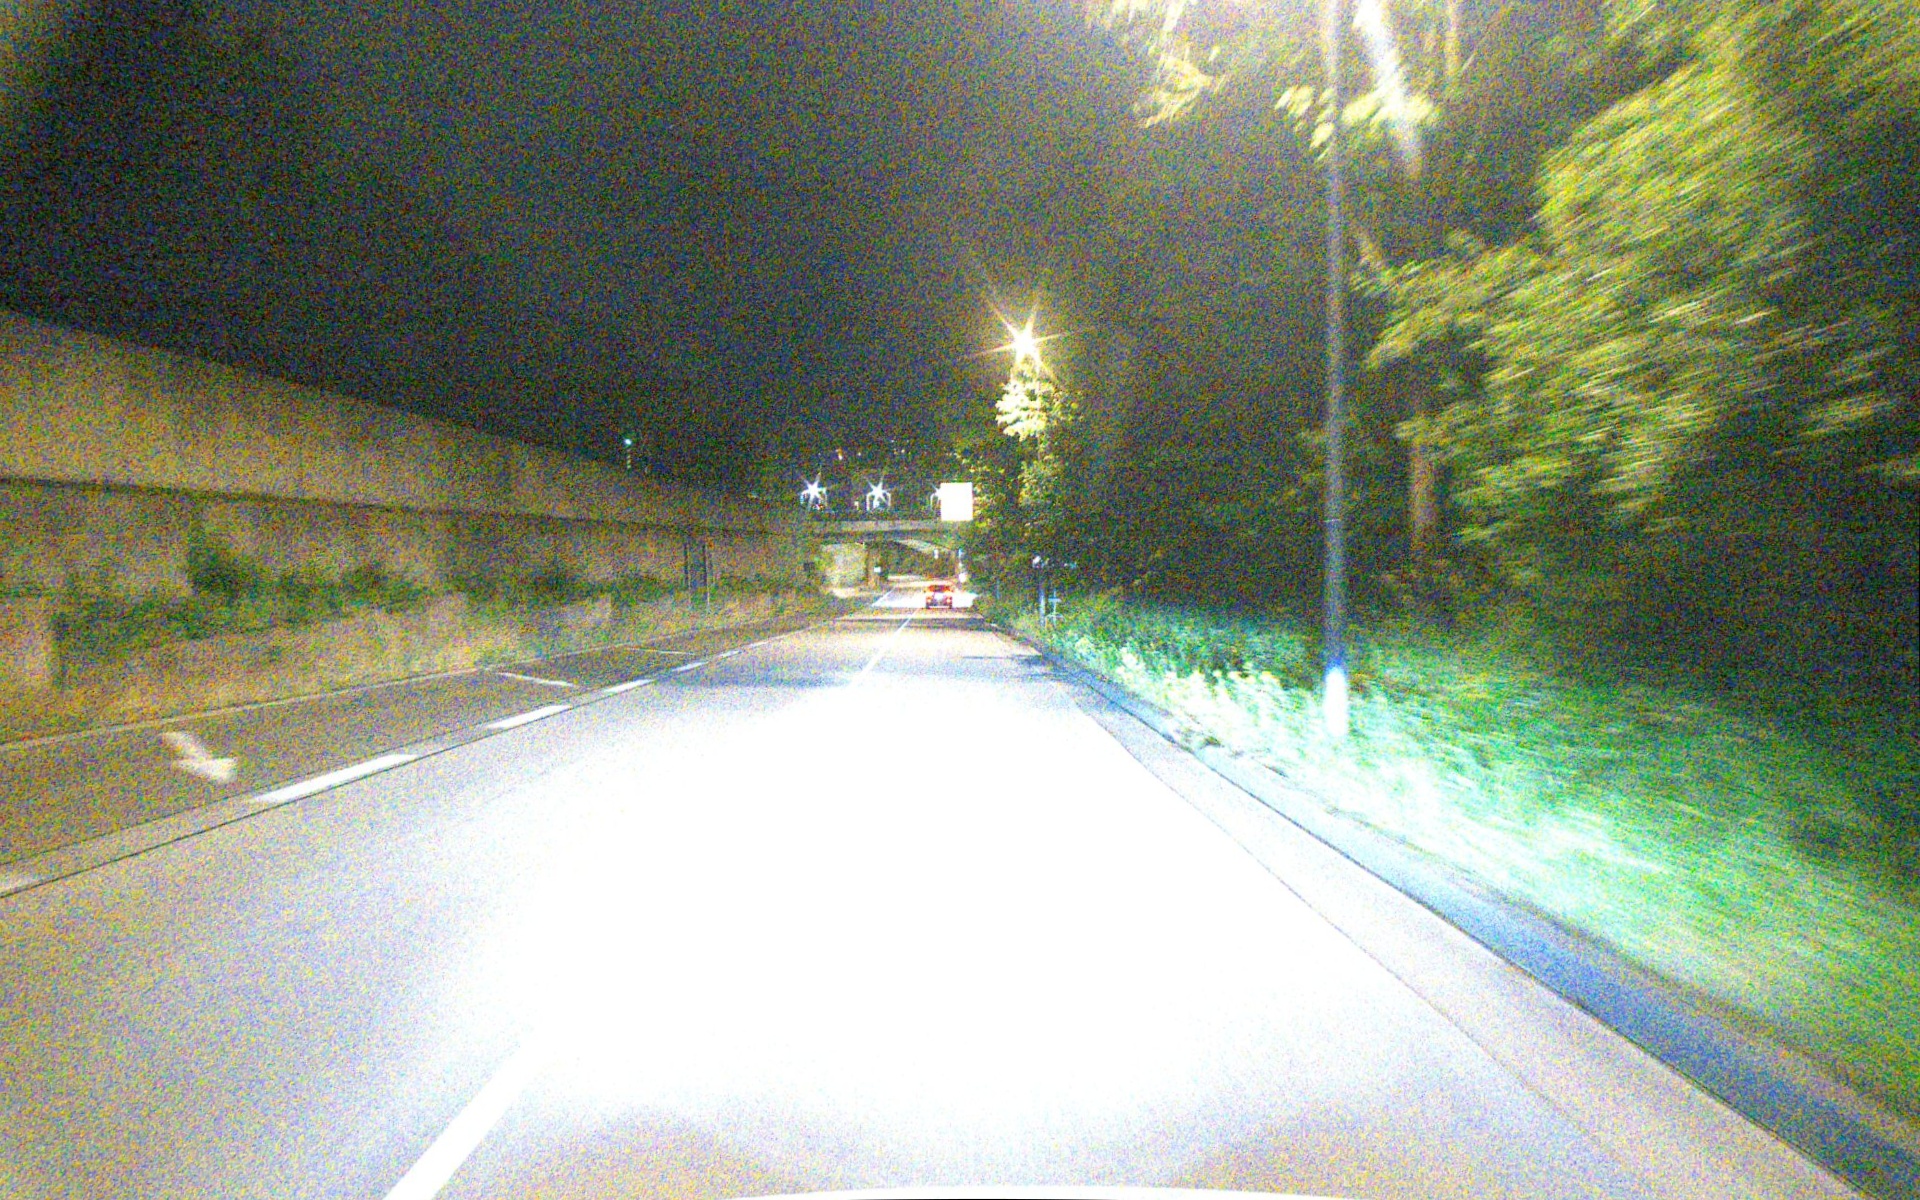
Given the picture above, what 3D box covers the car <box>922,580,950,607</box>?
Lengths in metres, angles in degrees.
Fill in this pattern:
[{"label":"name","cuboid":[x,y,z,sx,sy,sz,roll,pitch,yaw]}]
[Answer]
[{"label":"car","cuboid":[-1.597,-0.426,109.083,1.728,1.670,3.721,0,1,-3]}]
